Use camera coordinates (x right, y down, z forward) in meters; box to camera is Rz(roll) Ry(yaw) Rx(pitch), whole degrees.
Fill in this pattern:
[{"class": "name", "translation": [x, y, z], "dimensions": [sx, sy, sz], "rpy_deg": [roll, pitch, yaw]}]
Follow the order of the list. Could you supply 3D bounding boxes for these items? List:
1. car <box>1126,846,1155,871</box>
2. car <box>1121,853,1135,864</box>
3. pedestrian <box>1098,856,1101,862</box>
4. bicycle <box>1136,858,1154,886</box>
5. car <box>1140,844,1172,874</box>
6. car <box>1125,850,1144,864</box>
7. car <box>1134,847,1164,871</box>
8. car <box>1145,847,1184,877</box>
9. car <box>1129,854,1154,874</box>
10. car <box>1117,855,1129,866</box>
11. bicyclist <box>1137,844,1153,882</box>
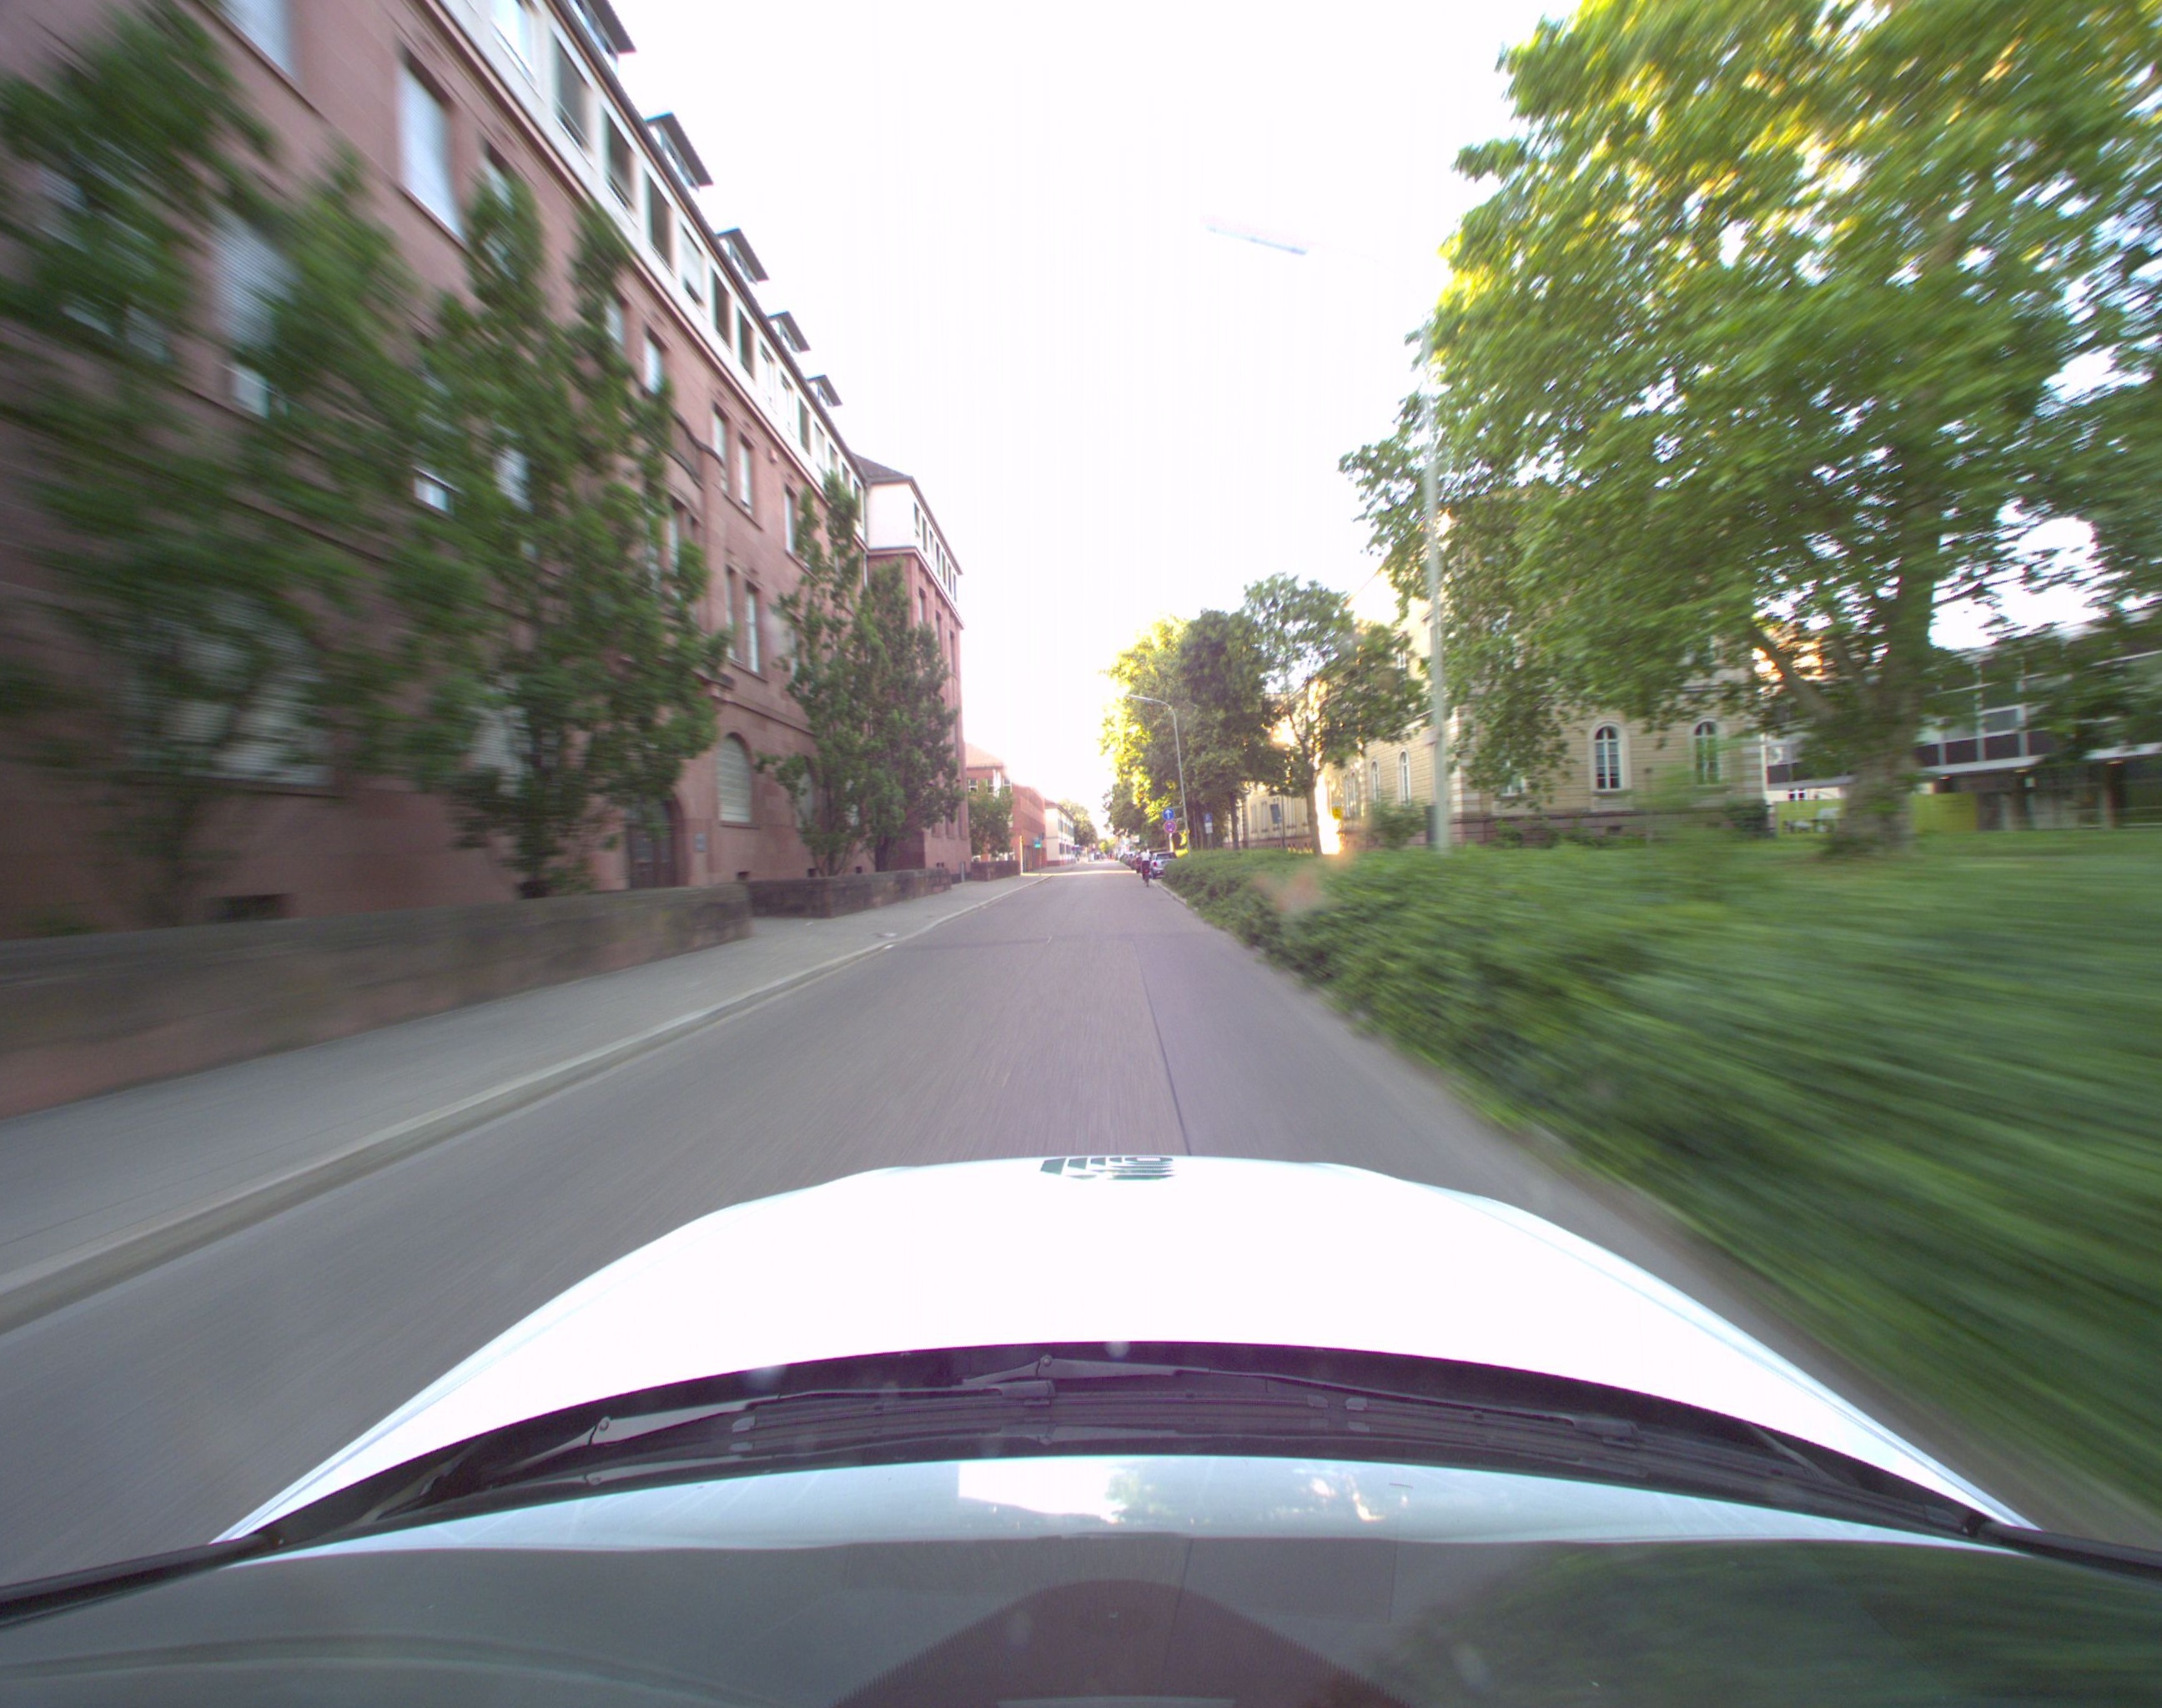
[{"class": "car", "translation": [4.725, 0.368, 64.757], "dimensions": [1.987, 1.816, 4.000], "rpy_deg": [-3, 0, 1]}, {"class": "car", "translation": [7.672, 0.737, 132.851], "dimensions": [1.987, 1.749, 4.000], "rpy_deg": [-3, 0, 1]}, {"class": "pedestrian", "translation": [4.722, 1.264, 208.964], "dimensions": [0.532, 1.472, 0.448], "rpy_deg": [-3, 0, 0]}, {"class": "bicycle", "translation": [2.854, 0.775, 36.342], "dimensions": [0.636, 1.193, 1.876], "rpy_deg": [-1, 0, 0]}, {"class": "car", "translation": [4.693, 0.288, 51.183], "dimensions": [1.709, 1.712, 4.476], "rpy_deg": [-3, 0, 3]}, {"class": "car", "translation": [6.307, 0.348, 96.684], "dimensions": [1.987, 1.585, 4.000], "rpy_deg": [-3, 0, 1]}, {"class": "car", "translation": [4.836, 0.356, 58.440], "dimensions": [1.710, 1.537, 4.048], "rpy_deg": [-3, 0, 0]}, {"class": "car", "translation": [4.578, 0.473, 45.058], "dimensions": [1.680, 1.447, 3.671], "rpy_deg": [-5, -1, 0]}, {"class": "car", "translation": [5.528, 0.919, 74.673], "dimensions": [1.987, 1.706, 4.000], "rpy_deg": [-3, 0, 1]}, {"class": "car", "translation": [9.367, 1.467, 183.165], "dimensions": [2.484, 2.196, 4.910], "rpy_deg": [-3, 0, 1]}, {"class": "bicyclist", "translation": [2.847, 0.400, 36.336], "dimensions": [0.637, 1.667, 0.842], "rpy_deg": [-1, 0, 0]}]
